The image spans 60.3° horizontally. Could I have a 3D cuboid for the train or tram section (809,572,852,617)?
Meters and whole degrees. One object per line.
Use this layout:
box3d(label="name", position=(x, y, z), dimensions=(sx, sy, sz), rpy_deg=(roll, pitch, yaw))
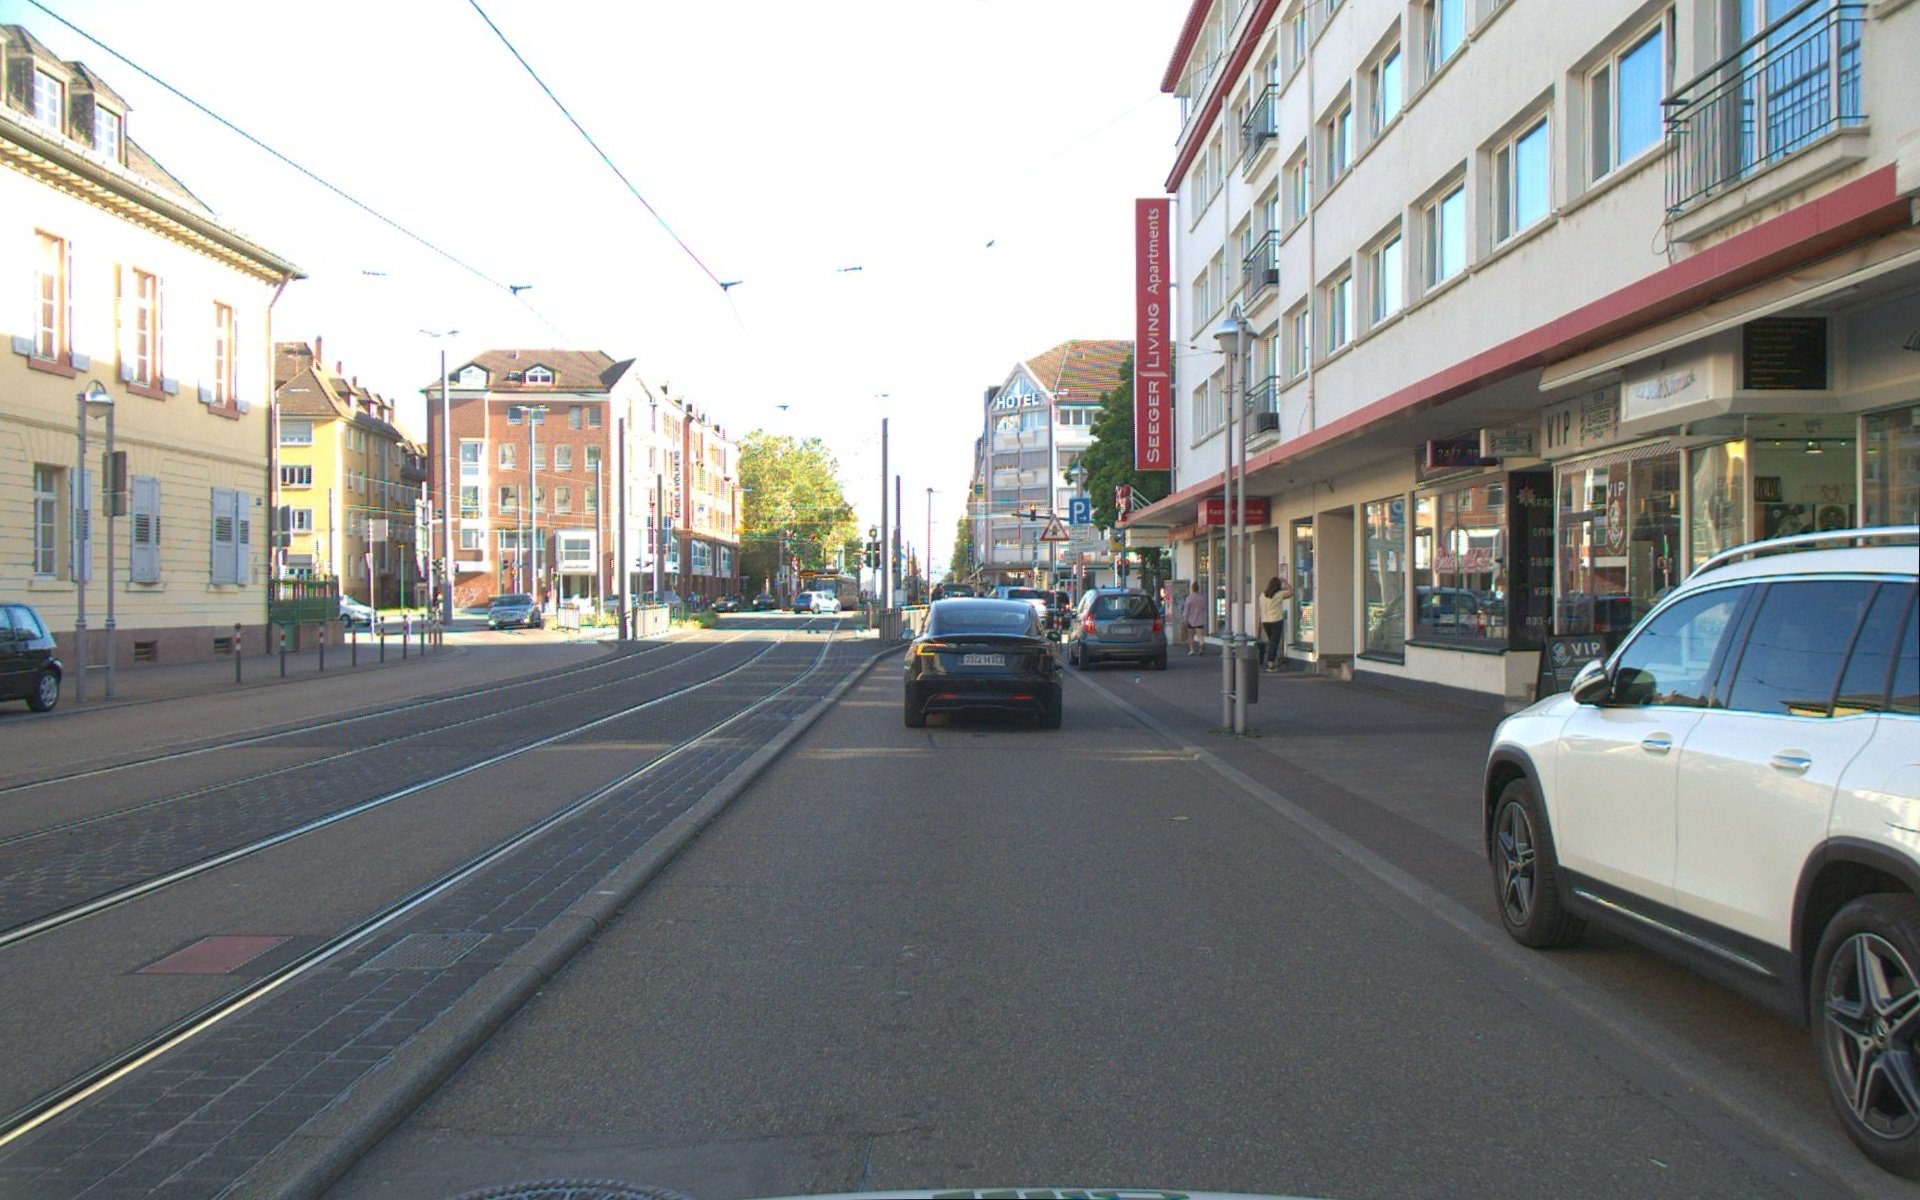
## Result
box3d(label="train or tram section", position=(-11.475, -0.434, 147.930), dimensions=(2.619, 3.780, 14.192), rpy_deg=(2, 0, 0))

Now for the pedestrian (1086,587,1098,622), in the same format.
box3d(label="pedestrian", position=(6.480, 0.204, 81.218), dimensions=(0.550, 1.712, 0.750), rpy_deg=(1, 0, 5))

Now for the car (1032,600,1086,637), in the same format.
box3d(label="car", position=(4.339, 0.792, 73.062), dimensions=(1.789, 1.545, 3.645), rpy_deg=(2, 0, -5))

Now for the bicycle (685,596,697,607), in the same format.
box3d(label="bicycle", position=(-22.581, 0.118, 138.957), dimensions=(0.688, 0.869, 2.053), rpy_deg=(-1, 0, 0))

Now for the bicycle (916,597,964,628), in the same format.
box3d(label="bicycle", position=(-0.758, 0.461, 62.335), dimensions=(1.696, 1.107, 0.677), rpy_deg=(2, 0, -8))

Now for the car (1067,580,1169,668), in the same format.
box3d(label="car", position=(3.173, 0.447, 33.743), dimensions=(1.709, 1.660, 3.649), rpy_deg=(-1, 0, 0))

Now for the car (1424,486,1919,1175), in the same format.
box3d(label="car", position=(3.308, 0.564, 5.748), dimensions=(1.812, 1.754, 5.191), rpy_deg=(-2, 0, -1))

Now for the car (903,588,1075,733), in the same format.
box3d(label="car", position=(0.266, 0.652, 19.580), dimensions=(1.811, 1.510, 3.786), rpy_deg=(1, 0, -1))

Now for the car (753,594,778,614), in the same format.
box3d(label="car", position=(-17.262, 0.387, 146.732), dimensions=(1.715, 1.680, 4.000), rpy_deg=(2, 0, 0))

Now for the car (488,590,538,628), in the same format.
box3d(label="car", position=(-19.097, 0.363, 70.783), dimensions=(1.848, 1.522, 4.914), rpy_deg=(-1, 0, -13))

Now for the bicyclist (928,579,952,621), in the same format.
box3d(label="bicyclist", position=(-0.754, -0.006, 62.254), dimensions=(0.820, 1.526, 0.559), rpy_deg=(2, 0, -8))

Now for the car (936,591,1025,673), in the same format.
box3d(label="car", position=(0.402, 0.591, 32.912), dimensions=(1.619, 1.443, 4.000), rpy_deg=(2, 1, 0))

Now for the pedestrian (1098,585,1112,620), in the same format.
box3d(label="pedestrian", position=(6.904, 0.131, 78.918), dimensions=(0.616, 1.642, 0.643), rpy_deg=(1, 0, 3))

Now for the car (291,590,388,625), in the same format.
box3d(label="car", position=(-30.930, 0.374, 82.455), dimensions=(4.501, 1.583, 1.815), rpy_deg=(2, 0, 24))

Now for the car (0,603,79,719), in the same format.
box3d(label="car", position=(-12.820, 0.757, 20.708), dimensions=(1.581, 1.425, 3.719), rpy_deg=(2, 0, -1))

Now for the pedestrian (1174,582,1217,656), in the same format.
box3d(label="pedestrian", position=(5.550, 0.448, 38.940), dimensions=(0.800, 1.712, 0.714), rpy_deg=(2, 0, 23))

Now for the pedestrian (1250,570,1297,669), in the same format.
box3d(label="pedestrian", position=(5.811, 0.362, 30.647), dimensions=(0.786, 1.805, 0.933), rpy_deg=(0, 0, 14))

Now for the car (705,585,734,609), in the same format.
box3d(label="car", position=(-20.834, -0.273, 143.471), dimensions=(1.953, 2.049, 4.000), rpy_deg=(0, 0, 0))

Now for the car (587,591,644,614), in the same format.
box3d(label="car", position=(-24.392, 0.194, 117.044), dimensions=(3.928, 1.495, 1.988), rpy_deg=(2, 0, 42))

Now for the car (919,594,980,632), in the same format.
box3d(label="car", position=(-0.493, 0.537, 72.480), dimensions=(1.793, 1.545, 4.204), rpy_deg=(2, 0, -13))

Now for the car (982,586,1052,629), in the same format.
box3d(label="car", position=(2.139, 0.269, 63.206), dimensions=(1.751, 1.545, 4.207), rpy_deg=(2, 0, -11))

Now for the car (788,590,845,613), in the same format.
box3d(label="car", position=(-9.815, 0.133, 113.564), dimensions=(1.957, 1.445, 3.991), rpy_deg=(2, 0, 30))
